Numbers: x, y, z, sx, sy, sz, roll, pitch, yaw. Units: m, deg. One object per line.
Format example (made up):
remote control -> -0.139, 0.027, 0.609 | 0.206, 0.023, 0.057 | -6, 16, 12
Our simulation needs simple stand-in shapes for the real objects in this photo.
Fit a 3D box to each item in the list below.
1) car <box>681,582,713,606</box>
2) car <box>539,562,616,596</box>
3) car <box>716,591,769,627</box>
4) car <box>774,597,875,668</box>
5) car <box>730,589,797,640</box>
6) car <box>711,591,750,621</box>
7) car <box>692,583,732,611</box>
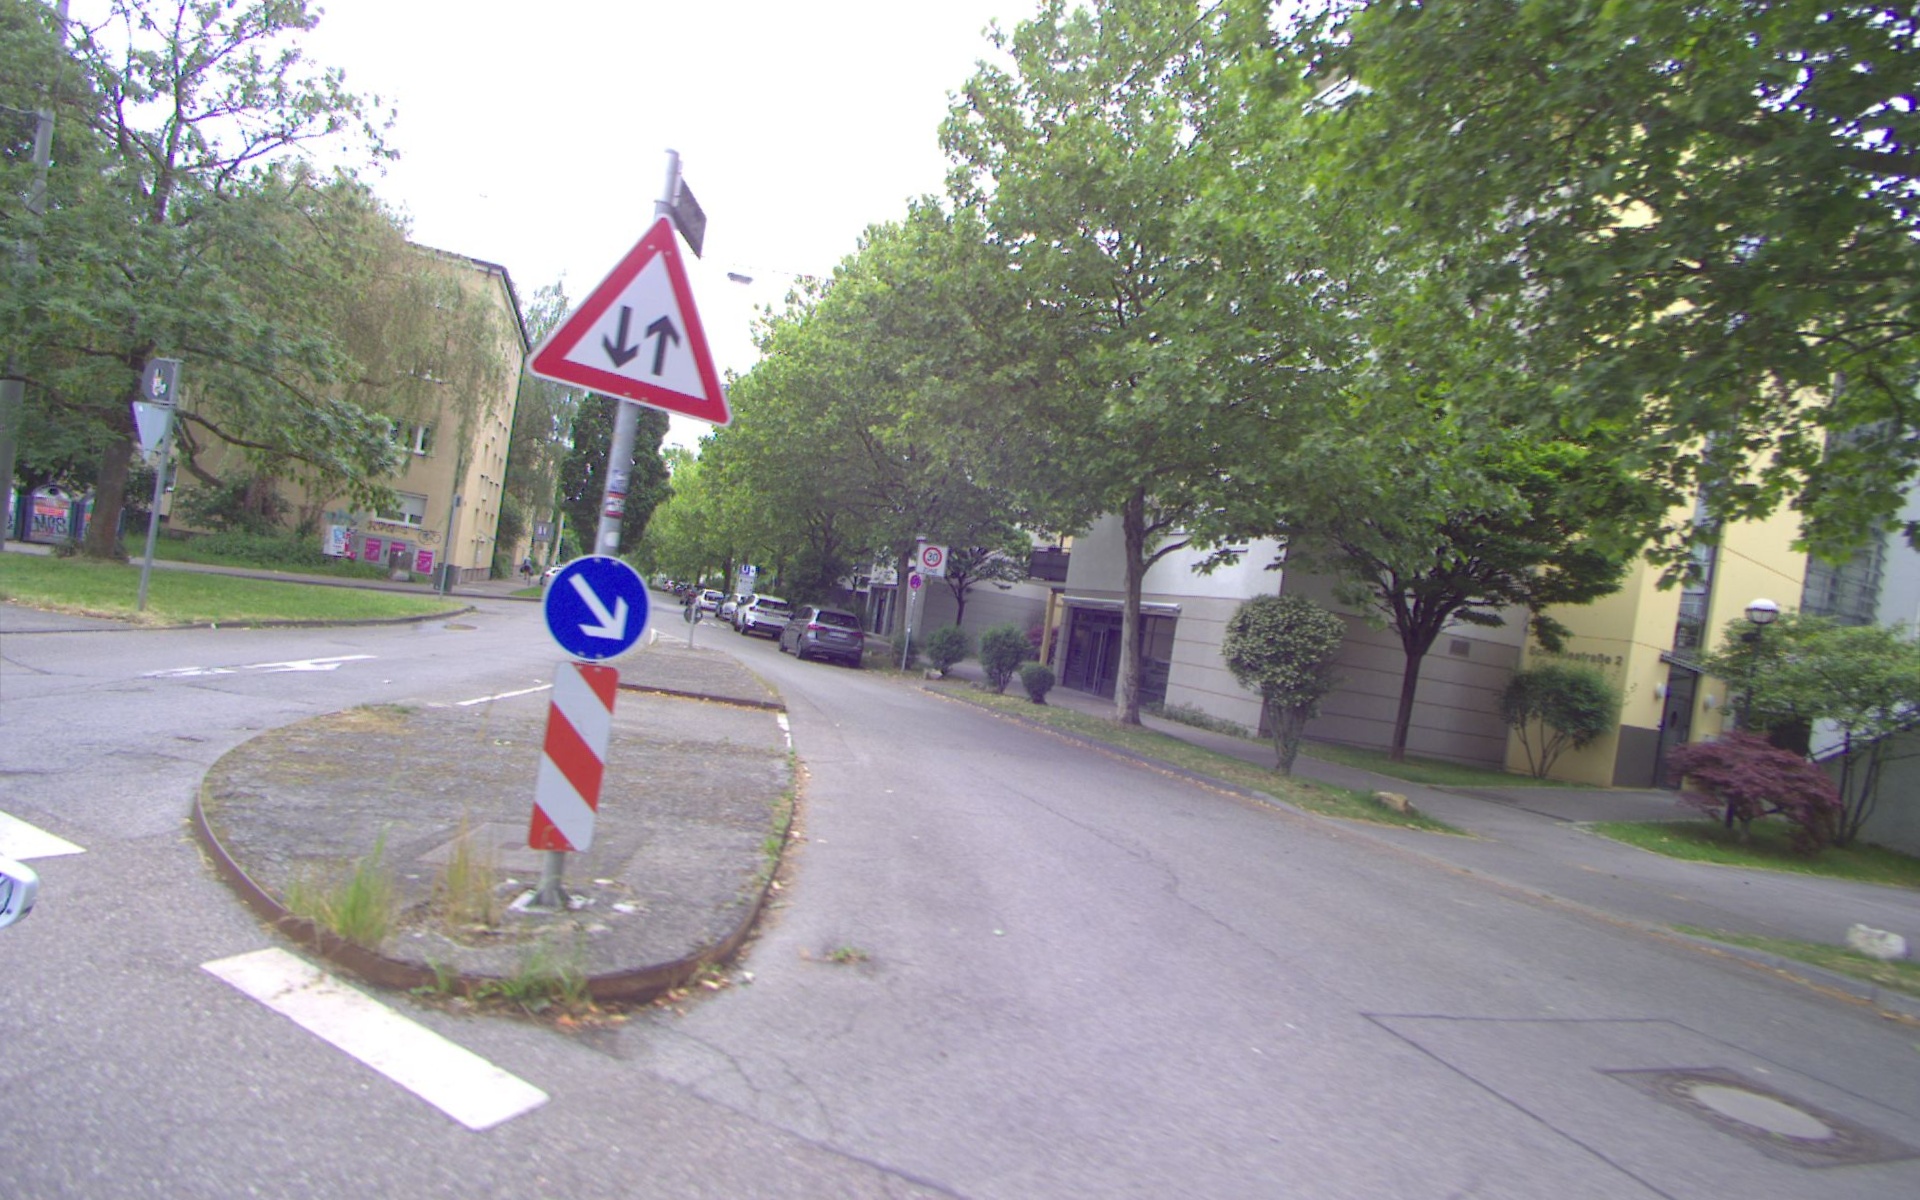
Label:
car -> -19.976, -0.461, 76.287 | 1.765, 1.463, 4.071 | 11, -3, -20
car -> -23.109, -1.235, 60.858 | 4.149, 1.596, 1.809 | 6, -1, -22
car -> -11.122, 0.440, 51.370 | 1.631, 1.441, 3.421 | 11, -3, -27
car -> -4.008, 0.885, 29.190 | 1.857, 1.585, 4.001 | 11, -3, -20
car -> -7.737, 0.522, 39.297 | 1.760, 1.615, 4.232 | 10, -2, -19
car -> -12.755, 0.312, 55.904 | 1.555, 1.369, 3.431 | 11, -3, -19
car -> -17.316, -0.218, 70.175 | 1.769, 1.502, 3.612 | 11, -3, -25
